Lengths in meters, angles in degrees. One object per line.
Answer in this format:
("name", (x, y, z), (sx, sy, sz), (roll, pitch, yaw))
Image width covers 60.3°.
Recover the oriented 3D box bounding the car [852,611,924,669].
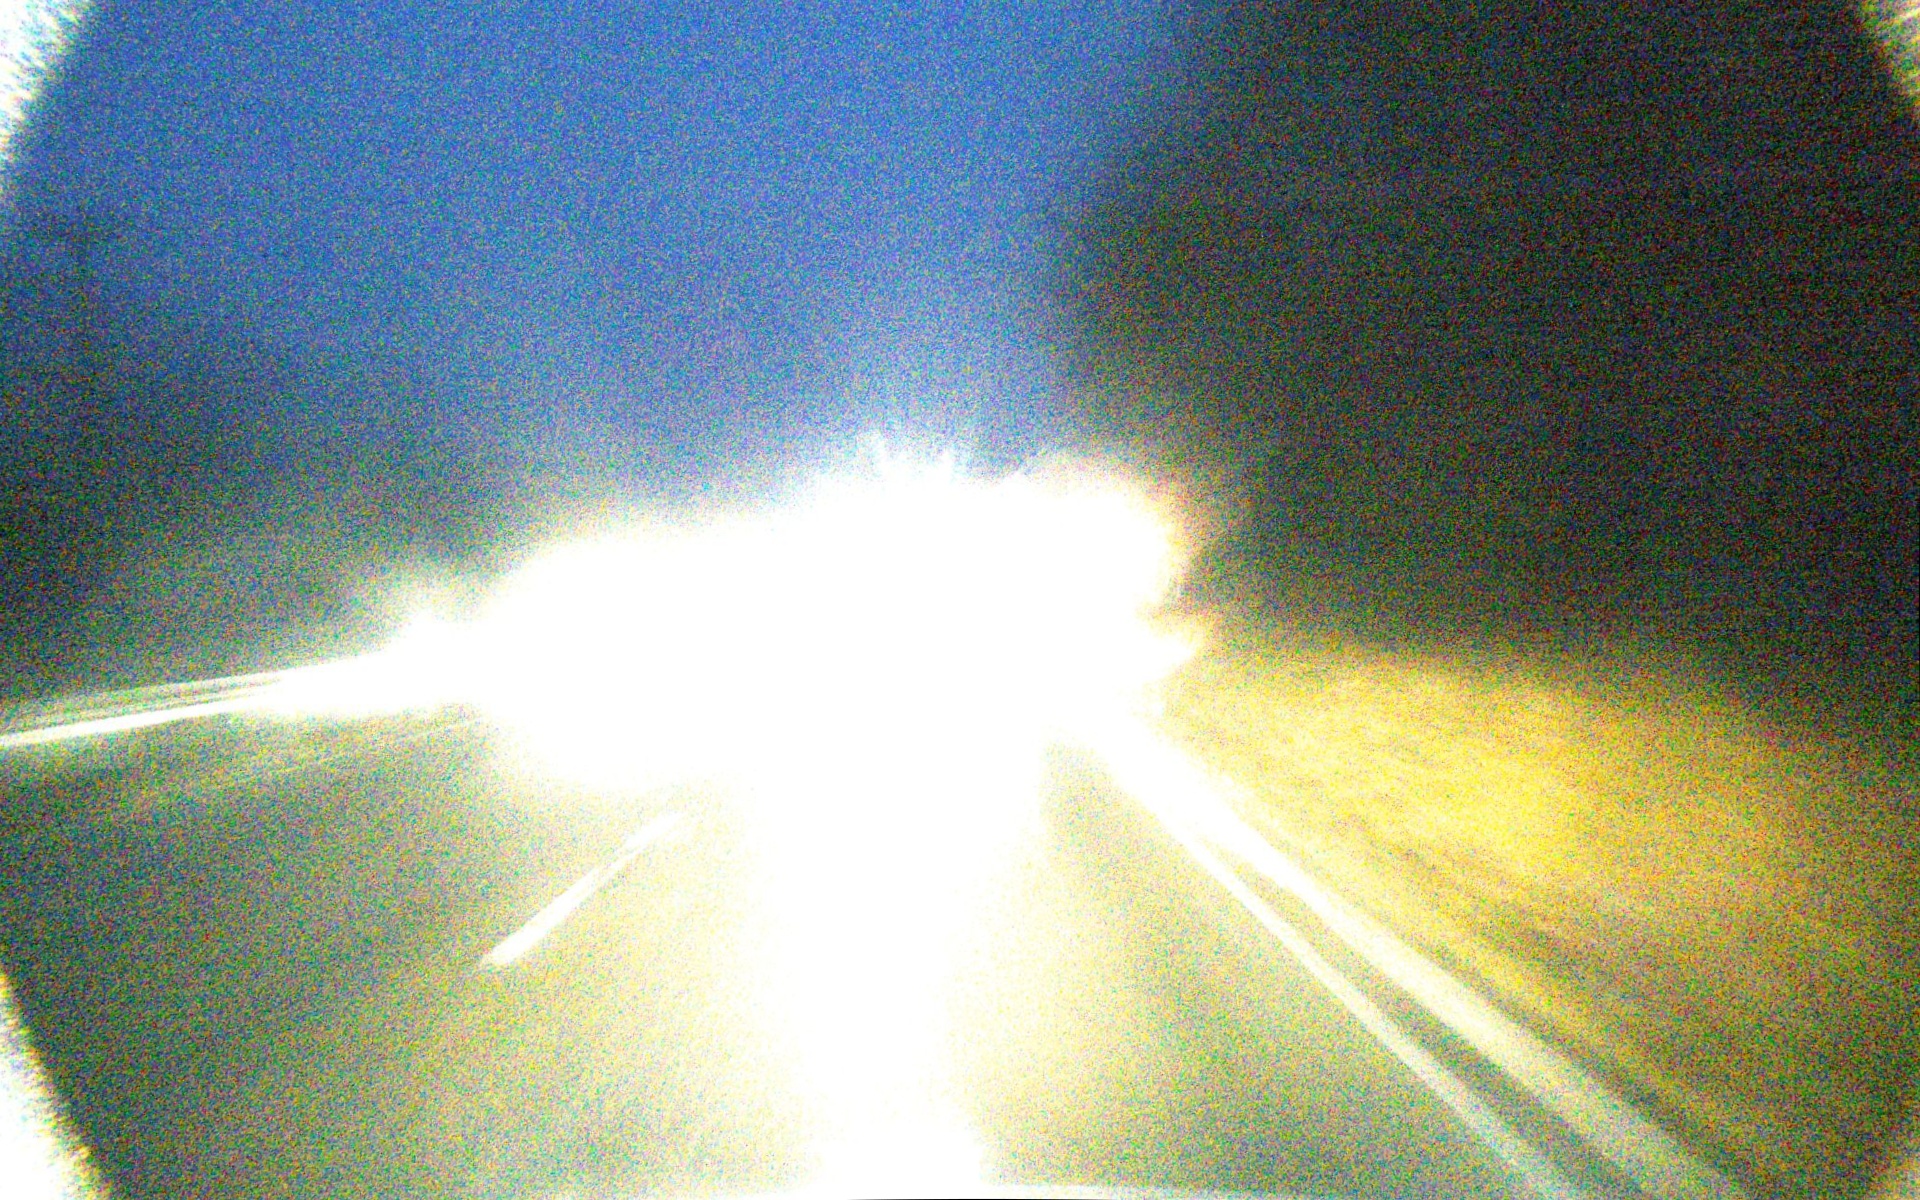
("car", (-2.219, 1.251, 52.267), (1.952, 1.722, 4.698), (1, -1, 1))
